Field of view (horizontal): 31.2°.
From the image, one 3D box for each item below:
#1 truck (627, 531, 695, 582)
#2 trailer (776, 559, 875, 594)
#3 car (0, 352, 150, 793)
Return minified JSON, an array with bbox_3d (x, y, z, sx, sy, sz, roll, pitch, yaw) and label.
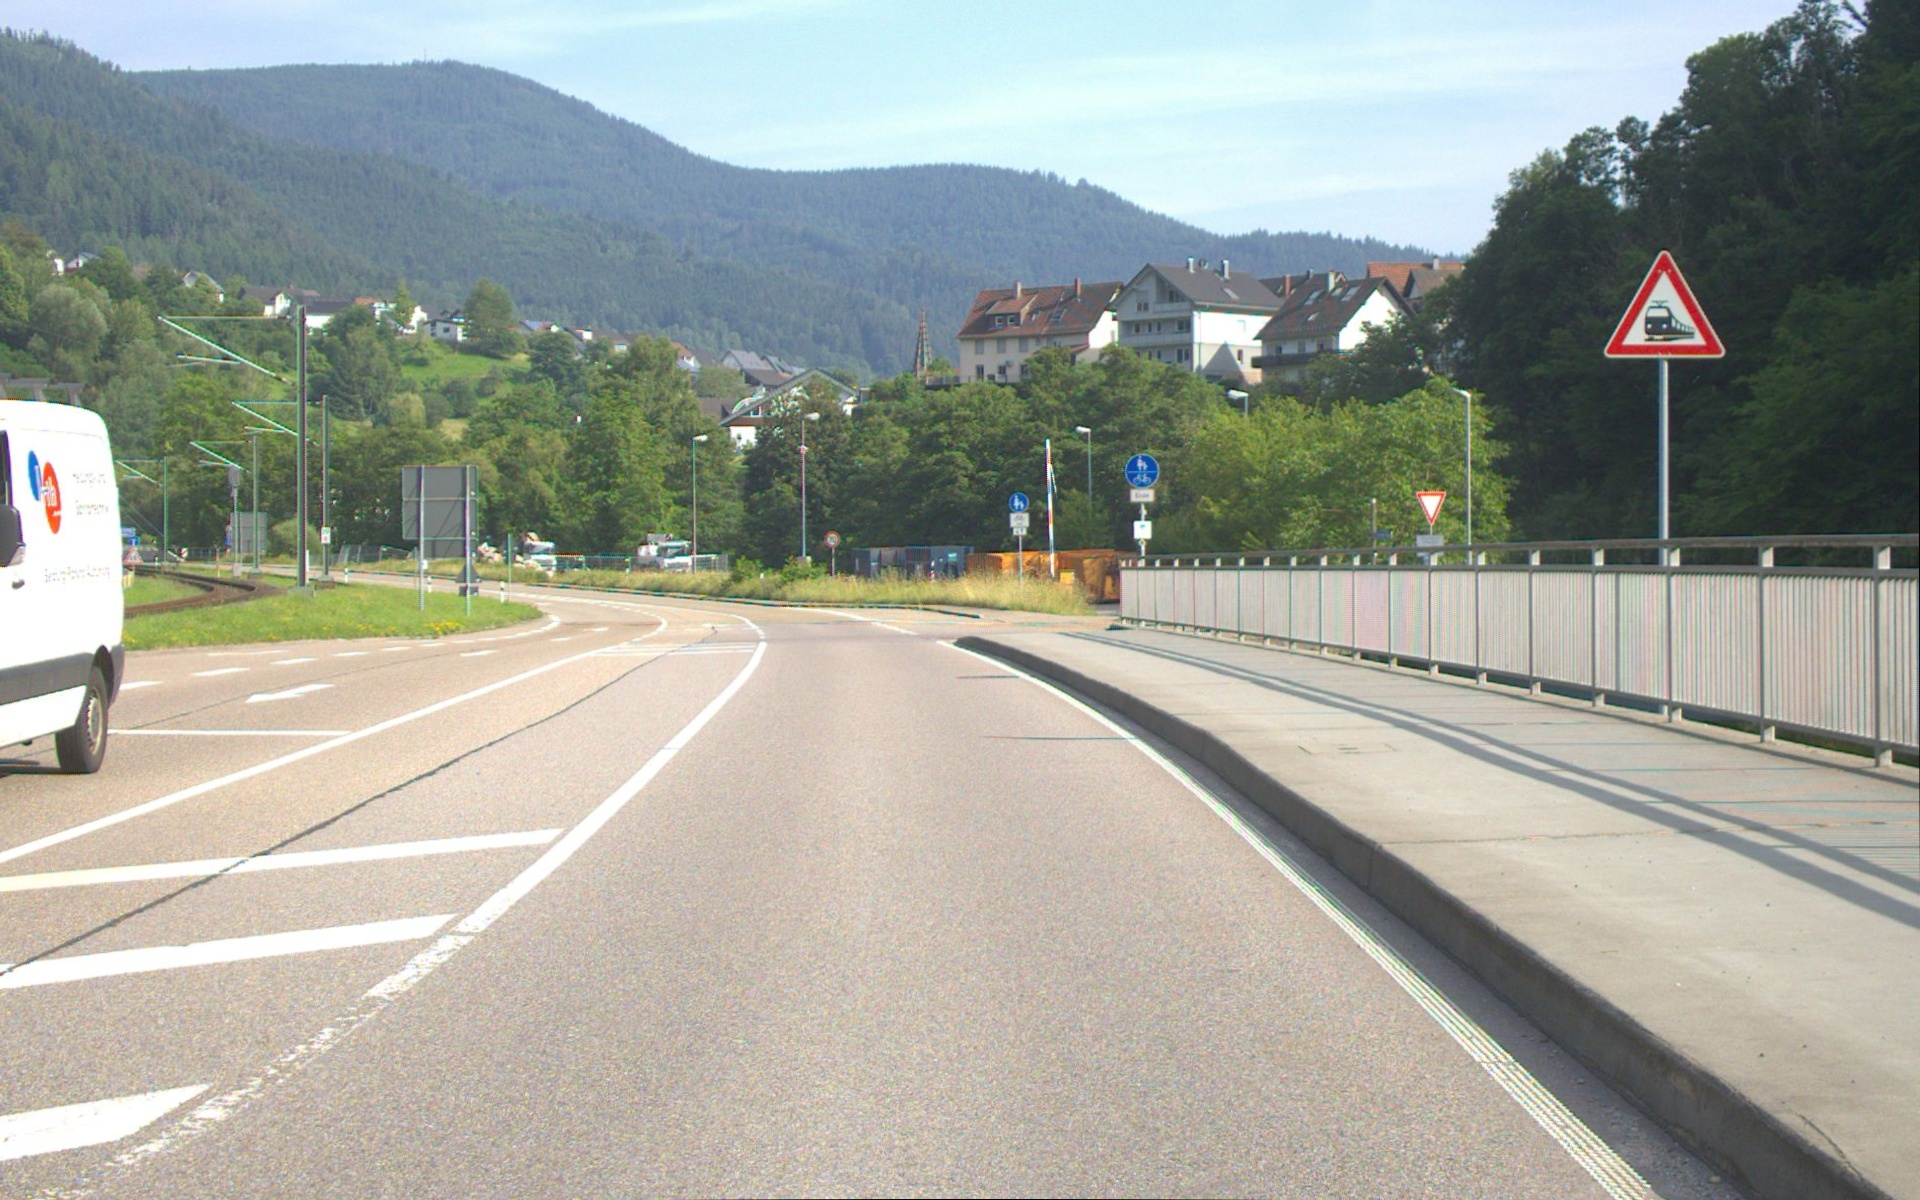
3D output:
[{"bbox_3d":[-22.787,-3.358,261.581,3.102,3.769,8.647,1,1,-19],"label":"truck"},{"bbox_3d":[-6.484,-1.128,164.209,2.791,1.469,9.890,2,1,-14],"label":"trailer"},{"bbox_3d":[-6.358,-0.191,19.965,2.119,2.428,5.228,1,1,-1],"label":"car"}]
